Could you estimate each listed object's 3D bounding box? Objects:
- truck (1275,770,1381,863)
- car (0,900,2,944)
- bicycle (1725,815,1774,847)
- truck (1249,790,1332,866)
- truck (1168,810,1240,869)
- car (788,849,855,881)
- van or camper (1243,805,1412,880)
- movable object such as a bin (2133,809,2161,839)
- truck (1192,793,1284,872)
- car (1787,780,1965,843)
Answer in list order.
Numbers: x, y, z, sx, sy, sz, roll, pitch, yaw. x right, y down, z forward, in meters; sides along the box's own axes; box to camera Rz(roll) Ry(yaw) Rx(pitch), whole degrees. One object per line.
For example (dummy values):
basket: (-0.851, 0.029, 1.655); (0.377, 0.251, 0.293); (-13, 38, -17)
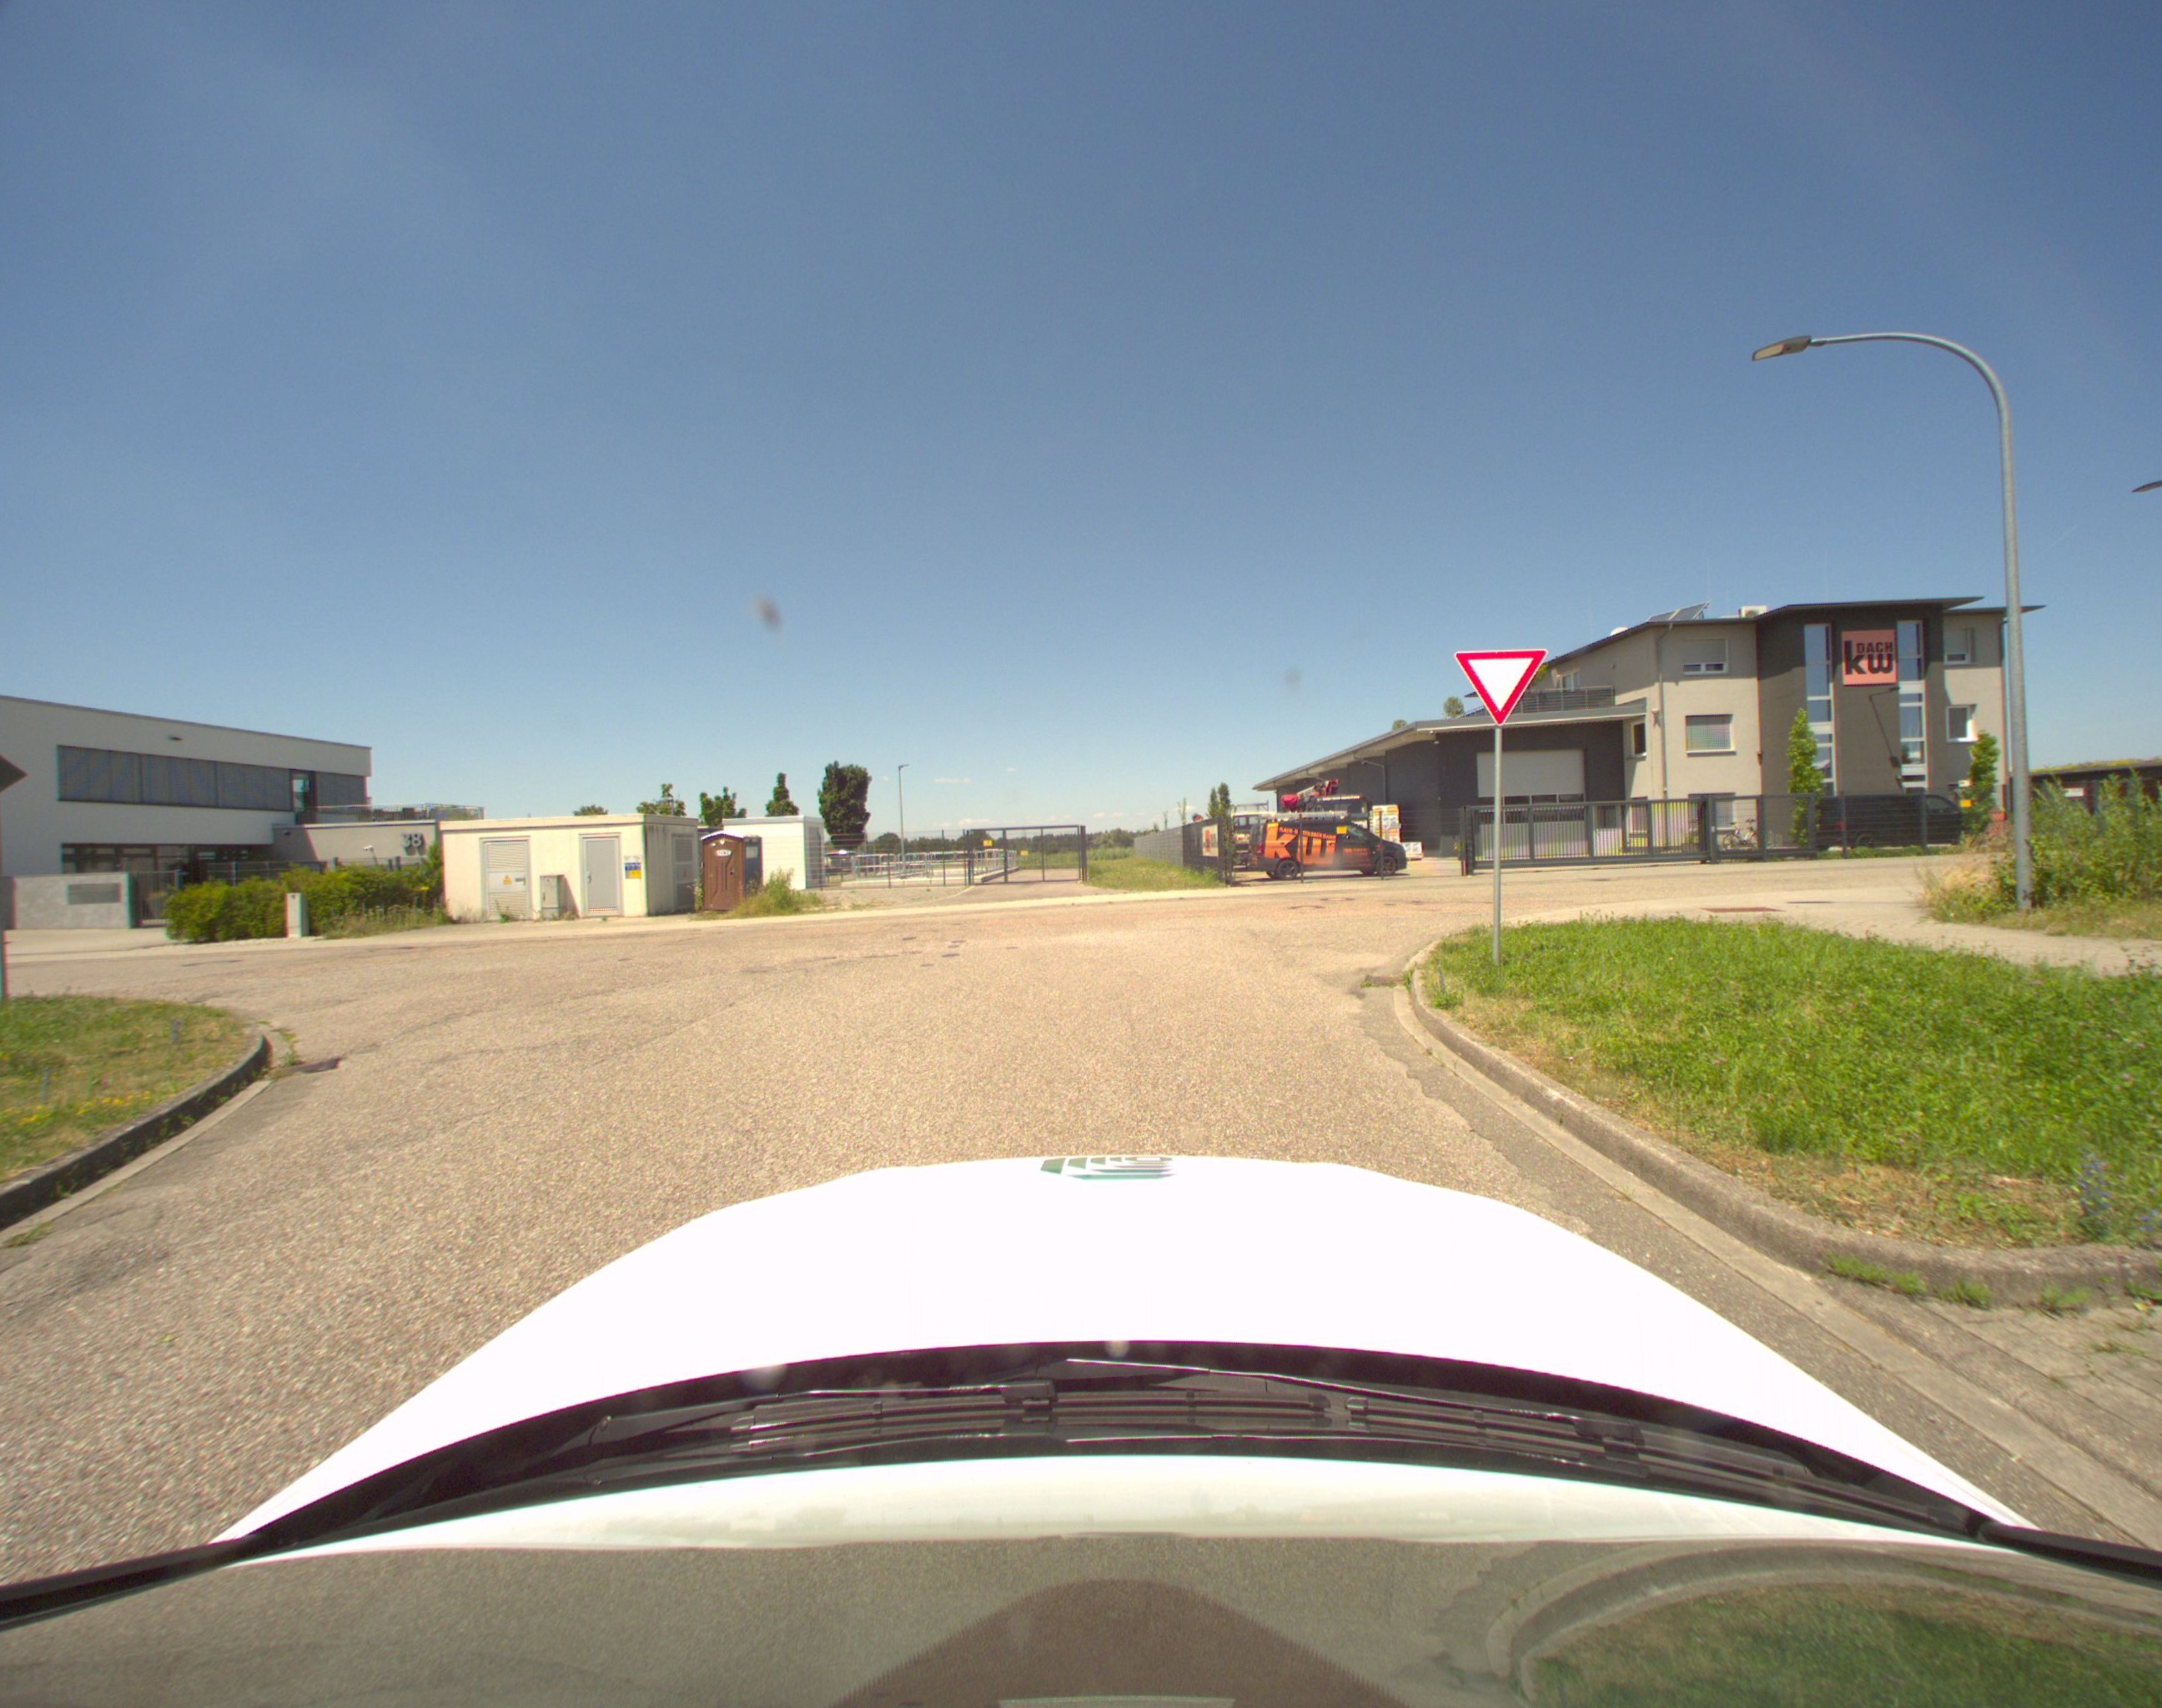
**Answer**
truck: (11.611, -1.673, 38.960); (2.911, 3.929, 6.936); (-2, 0, 1)
car: (-31.765, 1.584, 21.369); (3.977, 2.013, 1.998); (-3, 0, -3)
bicycle: (26.075, -0.900, 31.765); (1.804, 1.185, 0.442); (-3, 0, -14)
truck: (11.856, -1.415, 46.772); (2.911, 3.929, 6.936); (-2, 0, 1)
truck: (6.713, -0.771, 45.392); (2.911, 2.937, 6.936); (-2, 0, 1)
car: (-18.127, 0.730, 57.009); (3.972, 2.013, 2.001); (-2, 0, 1)
van or camper: (8.035, -0.394, 26.891); (4.919, 2.163, 2.000); (-2, 1, 0)
movable object such as a bin: (32.400, -0.917, 24.629); (0.433, 0.884, 0.561); (-3, 0, 2)
truck: (6.761, -0.883, 36.152); (2.717, 3.061, 6.936); (-2, 0, 1)
car: (26.707, -1.396, 27.473); (3.973, 1.867, 2.001); (-3, 0, 1)
